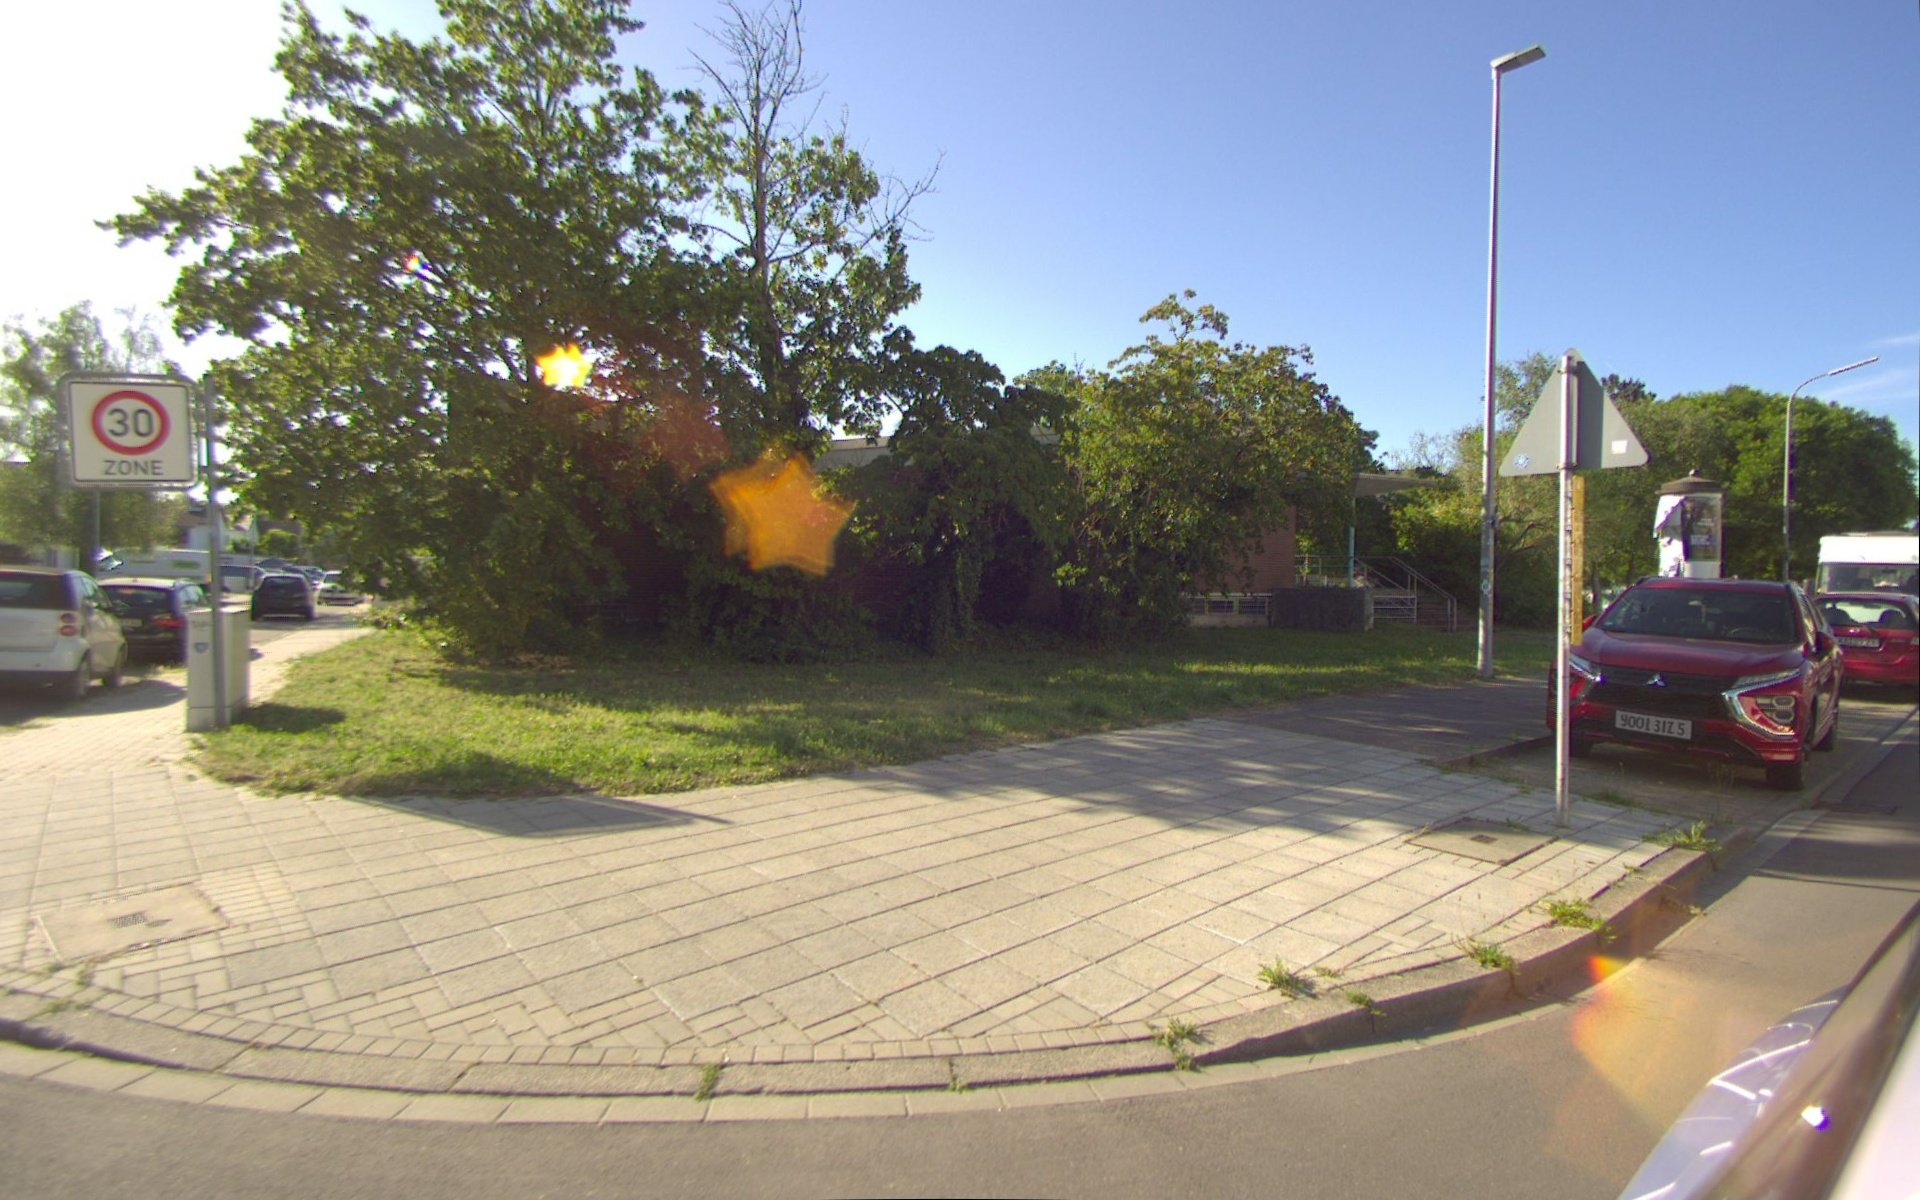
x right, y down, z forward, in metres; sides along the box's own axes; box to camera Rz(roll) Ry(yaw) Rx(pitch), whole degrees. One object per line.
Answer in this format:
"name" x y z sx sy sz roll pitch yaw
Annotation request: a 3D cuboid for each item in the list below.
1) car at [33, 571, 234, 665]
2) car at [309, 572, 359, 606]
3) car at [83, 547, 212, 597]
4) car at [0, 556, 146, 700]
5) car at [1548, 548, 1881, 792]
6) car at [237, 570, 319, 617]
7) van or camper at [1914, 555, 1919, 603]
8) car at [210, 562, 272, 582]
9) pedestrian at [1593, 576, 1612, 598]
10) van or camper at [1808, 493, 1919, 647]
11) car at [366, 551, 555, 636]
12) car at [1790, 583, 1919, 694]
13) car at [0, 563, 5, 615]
"car" -14.279 0.215 17.785 1.929 1.428 4.505 0 1 -29
"car" -30.629 -0.571 49.607 1.818 1.579 4.252 0 1 -29
"car" -40.655 -1.399 50.824 4.980 2.429 1.999 -1 1 -37
"car" -11.465 0.273 12.469 1.666 1.583 2.968 3 0 -29
"car" 7.237 0.437 9.502 4.569 1.700 1.777 -1 4 -45
"car" -22.334 -0.254 33.282 1.818 1.428 4.252 0 1 -29
"van or camper" 55.035 -1.114 56.510 2.353 2.627 6.326 5 5 43
"car" -57.398 -2.227 80.802 3.928 1.571 1.998 -1 2 -39
"pedestrian" 33.012 -0.651 51.997 0.700 1.102 0.713 2 2 39
"van or camper" 20.210 -0.613 21.617 6.738 2.880 2.499 -1 2 -44
"car" -11.828 -0.179 24.102 3.918 1.892 1.702 0 1 -27
"car" 14.087 0.495 15.424 3.932 1.492 1.693 -1 2 -43
"car" -29.338 -0.396 28.203 3.516 1.507 1.677 3 0 -19
